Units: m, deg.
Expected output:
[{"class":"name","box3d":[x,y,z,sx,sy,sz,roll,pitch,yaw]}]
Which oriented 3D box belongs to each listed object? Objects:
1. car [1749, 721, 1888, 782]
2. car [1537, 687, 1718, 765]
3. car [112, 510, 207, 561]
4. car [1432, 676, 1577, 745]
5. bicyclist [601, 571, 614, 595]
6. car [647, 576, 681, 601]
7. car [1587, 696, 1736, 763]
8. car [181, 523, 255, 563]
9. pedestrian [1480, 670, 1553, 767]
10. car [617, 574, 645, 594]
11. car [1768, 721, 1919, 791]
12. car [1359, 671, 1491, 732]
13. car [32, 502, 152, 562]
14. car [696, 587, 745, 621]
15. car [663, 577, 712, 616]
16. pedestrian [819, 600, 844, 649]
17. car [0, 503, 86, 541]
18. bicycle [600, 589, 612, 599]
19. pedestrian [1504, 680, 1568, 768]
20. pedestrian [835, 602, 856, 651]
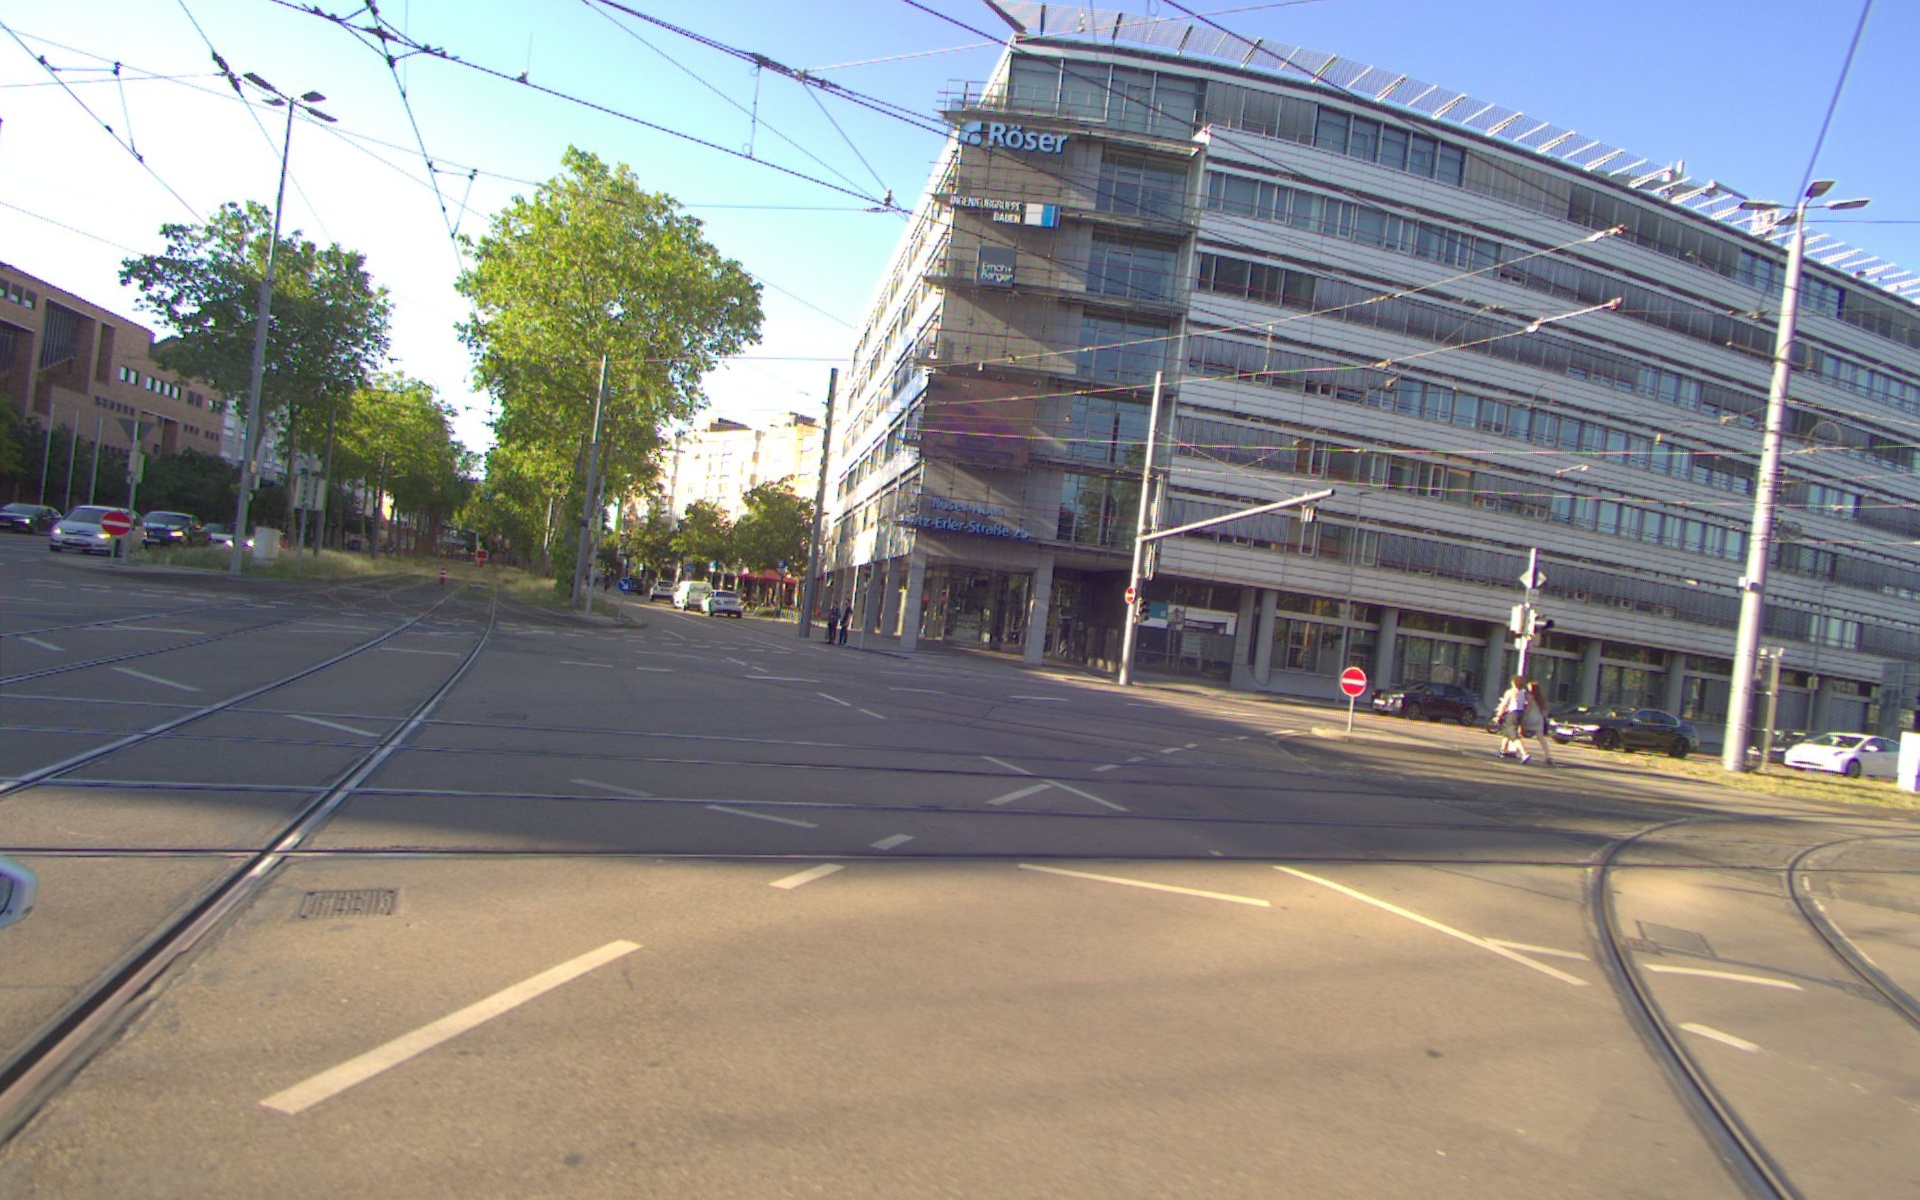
[{"class":"car","box3d":[31.027,5.465,36.382,3.934,1.615,1.626,7,-1,-11]},{"class":"car","box3d":[20.227,3.816,30.552,4.452,1.640,1.900,8,-1,-13]},{"class":"car","box3d":[-31.863,-2.528,40.191,1.836,1.671,4.300,7,-1,-24]},{"class":"car","box3d":[18.095,3.659,33.476,3.804,1.640,1.900,8,-1,-13]},{"class":"bicyclist","box3d":[-31.255,-1.470,89.226,0.743,2.038,0.741,8,0,-16]},{"class":"car","box3d":[-22.492,-0.875,76.323,1.835,1.571,4.302,7,-1,-23]},{"class":"car","box3d":[24.550,4.534,35.246,4.105,1.640,1.900,8,-1,-13]},{"class":"car","box3d":[-35.058,-2.673,47.654,1.836,1.571,4.300,7,-1,-24]},{"class":"pedestrian","box3d":[11.577,2.457,20.930,0.693,1.865,0.956,6,0,-38]},{"class":"car","box3d":[-31.424,-1.564,96.077,2.238,1.571,4.305,7,-1,-21]},{"class":"car","box3d":[29.720,5.215,33.689,4.105,1.640,1.900,8,-1,-13]},{"class":"car","box3d":[17.656,3.830,38.235,4.105,1.640,1.900,8,-1,-13]},{"class":"car","box3d":[-28.711,-2.189,33.427,1.713,1.616,4.300,7,-1,-24]},{"class":"car","box3d":[-13.410,0.202,56.217,1.835,1.571,4.302,7,-1,-23]},{"class":"car","box3d":[-16.878,-0.251,62.143,1.975,2.038,4.358,7,-1,-26]},{"class":"pedestrian","box3d":[-5.043,0.954,39.425,0.540,1.846,0.582,6,0,-40]},{"class":"car","box3d":[-44.490,-3.780,48.142,1.888,1.392,3.998,7,-1,-5]},{"class":"bicycle","box3d":[-31.378,-0.570,89.215,0.808,0.783,1.724,7,-1,-16]},{"class":"pedestrian","box3d":[12.179,2.618,21.291,0.643,1.709,0.837,6,1,-39]},{"class":"pedestrian","box3d":[-4.420,1.018,38.806,0.371,1.846,0.540,6,0,-40]}]
